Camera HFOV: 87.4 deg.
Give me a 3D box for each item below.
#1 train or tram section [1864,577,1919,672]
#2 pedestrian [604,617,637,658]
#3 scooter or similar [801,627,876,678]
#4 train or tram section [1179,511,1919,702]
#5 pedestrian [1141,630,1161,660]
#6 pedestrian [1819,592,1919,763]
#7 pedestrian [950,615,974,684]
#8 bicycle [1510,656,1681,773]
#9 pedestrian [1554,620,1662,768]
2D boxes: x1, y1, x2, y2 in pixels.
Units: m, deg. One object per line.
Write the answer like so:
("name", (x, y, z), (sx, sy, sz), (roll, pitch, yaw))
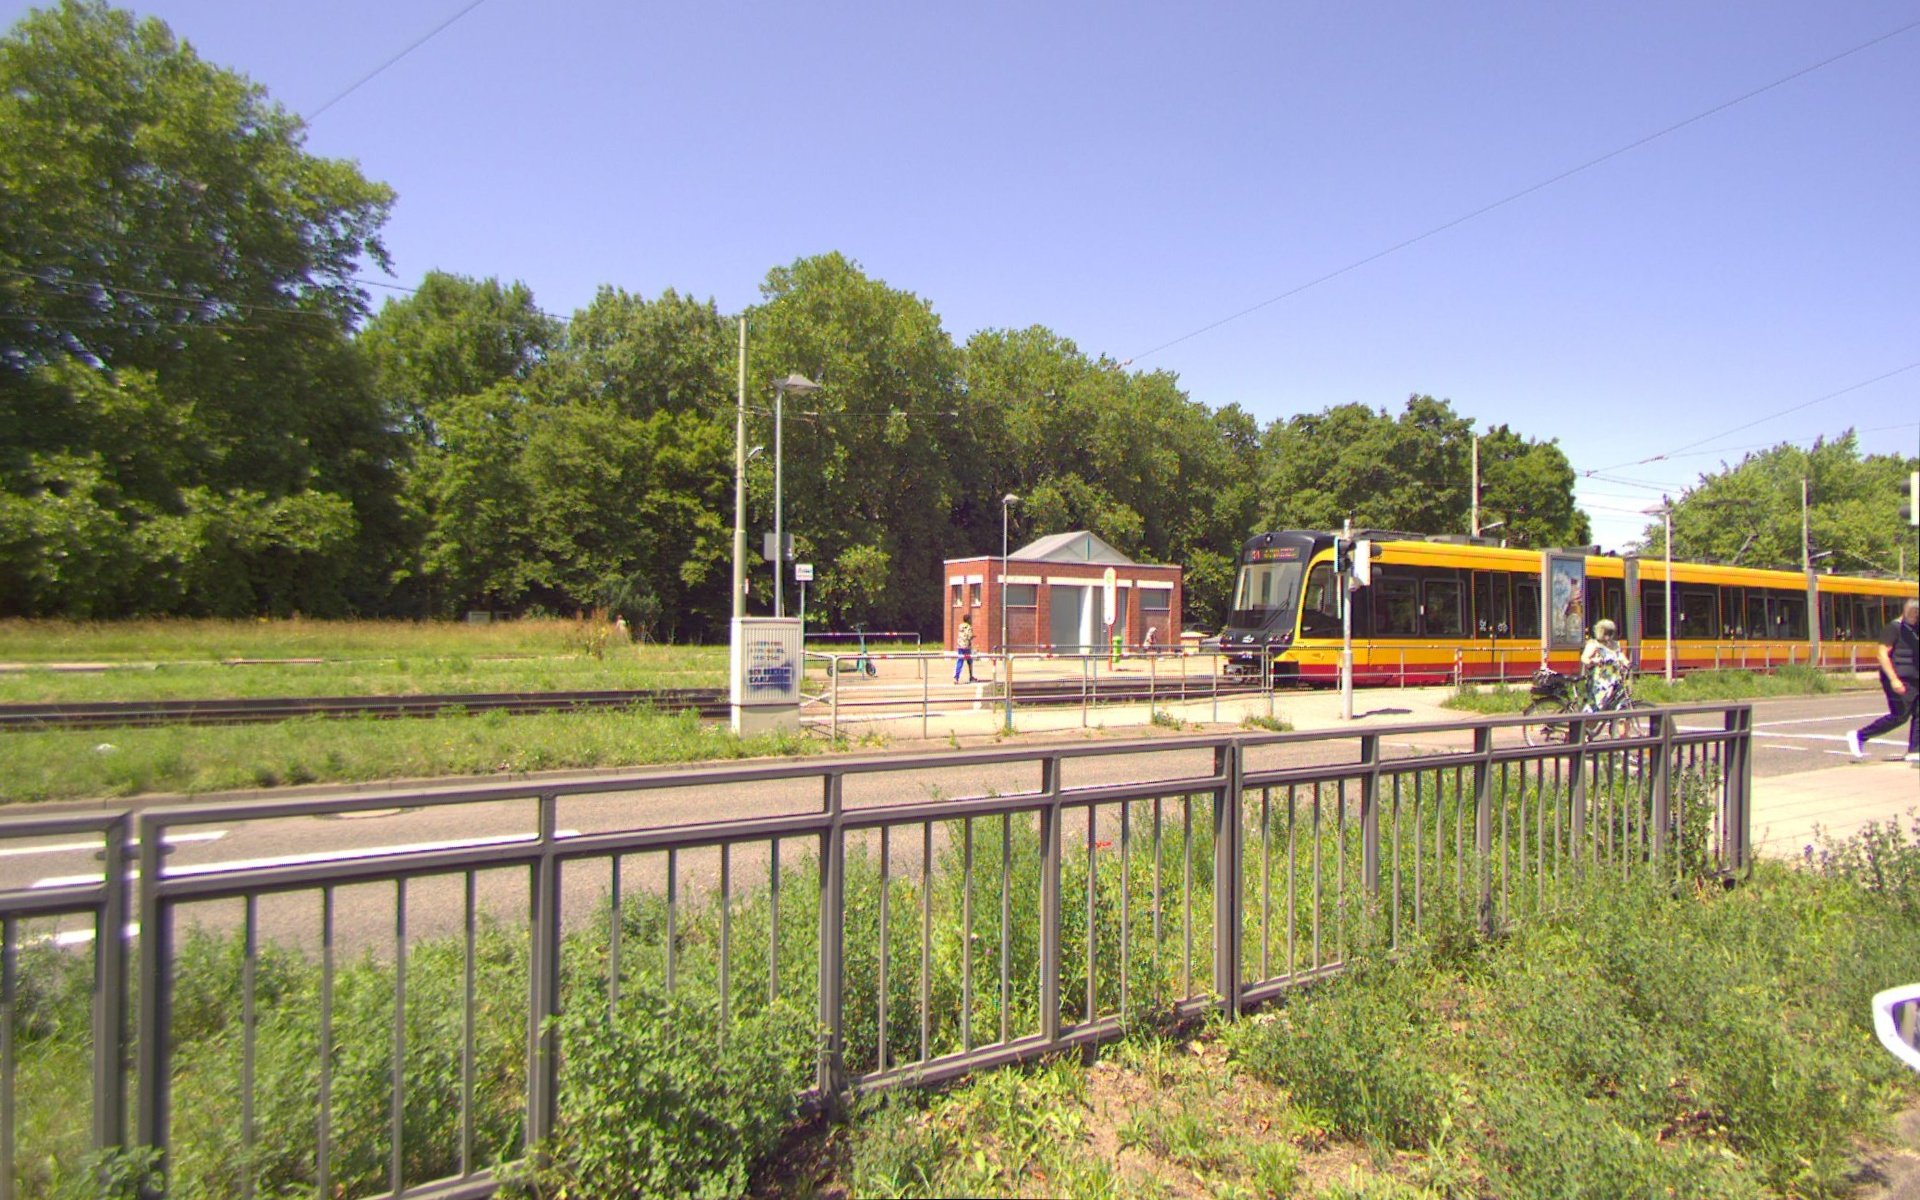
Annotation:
("train or tram section", (48.463, 1.251, 46.100), (25.694, 3.717, 2.774), (1, -1, -30))
("pedestrian", (-14.548, 1.601, 43.051), (1.245, 1.724, 0.517), (1, -1, 15))
("scooter or similar", (-2.859, 1.224, 23.648), (1.640, 1.142, 0.613), (1, -1, 15))
("train or tram section", (21.456, 0.550, 30.164), (37.077, 3.717, 2.774), (1, -1, -30))
("pedestrian", (6.712, 1.583, 35.353), (0.515, 1.032, 0.479), (1, -1, -28))
("pedestrian", (10.333, 0.838, 11.186), (0.691, 1.820, 0.961), (1, -1, -1))
("pedestrian", (0.053, 1.124, 23.028), (0.527, 1.561, 0.869), (1, -1, 0))
("bicycle", (7.342, 1.285, 11.712), (0.239, 1.172, 1.858), (1, -1, -24))
("pedestrian", (7.578, 1.070, 11.767), (0.695, 1.650, 0.817), (1, -1, -24))
